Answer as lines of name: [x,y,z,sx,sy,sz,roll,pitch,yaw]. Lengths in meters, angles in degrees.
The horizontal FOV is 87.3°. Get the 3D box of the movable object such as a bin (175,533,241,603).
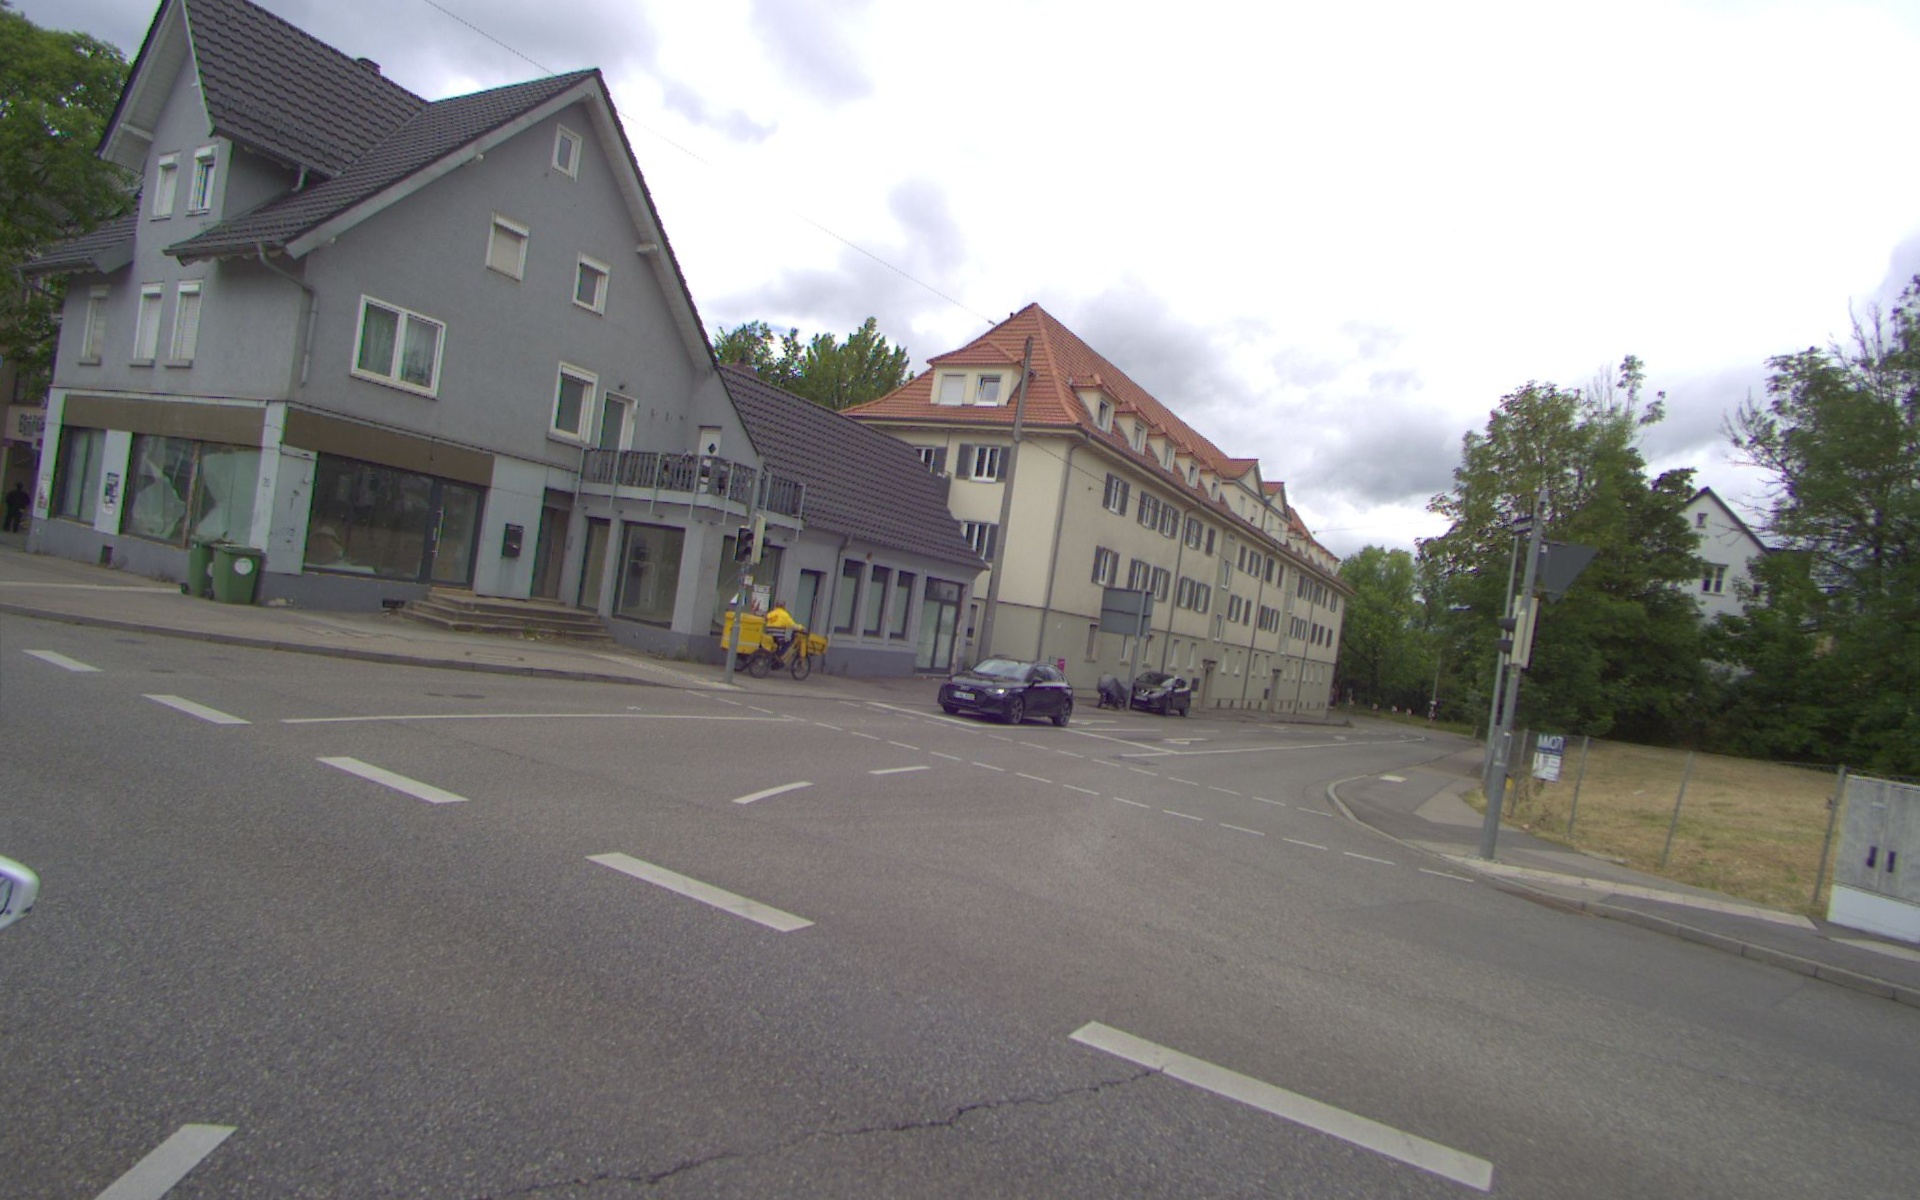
movable object such as a bin: [-13.374,-0.568,17.896,0.698,1.117,0.610,7,-1,30]

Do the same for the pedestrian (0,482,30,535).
pedestrian: [-32.931,-3.174,34.915,0.828,1.713,0.658,7,2,31]

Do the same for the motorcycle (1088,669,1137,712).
motorcycle: [5.462,3.239,35.863,0.674,1.331,2.310,10,-1,32]

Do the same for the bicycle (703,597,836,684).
bicycle: [-4.079,0.915,21.776,0.948,1.526,2.679,12,1,36]

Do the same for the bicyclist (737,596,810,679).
bicyclist: [-4.045,0.812,21.831,0.948,1.617,0.935,8,0,37]

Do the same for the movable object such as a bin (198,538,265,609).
movable object such as a bin: [-12.710,-0.455,17.555,0.698,1.117,0.627,7,-1,30]

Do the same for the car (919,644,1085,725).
car: [1.074,1.978,22.897,1.876,1.437,4.354,7,-3,30]

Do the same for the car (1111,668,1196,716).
car: [7.810,3.718,40.295,1.966,1.480,4.088,8,-2,31]
